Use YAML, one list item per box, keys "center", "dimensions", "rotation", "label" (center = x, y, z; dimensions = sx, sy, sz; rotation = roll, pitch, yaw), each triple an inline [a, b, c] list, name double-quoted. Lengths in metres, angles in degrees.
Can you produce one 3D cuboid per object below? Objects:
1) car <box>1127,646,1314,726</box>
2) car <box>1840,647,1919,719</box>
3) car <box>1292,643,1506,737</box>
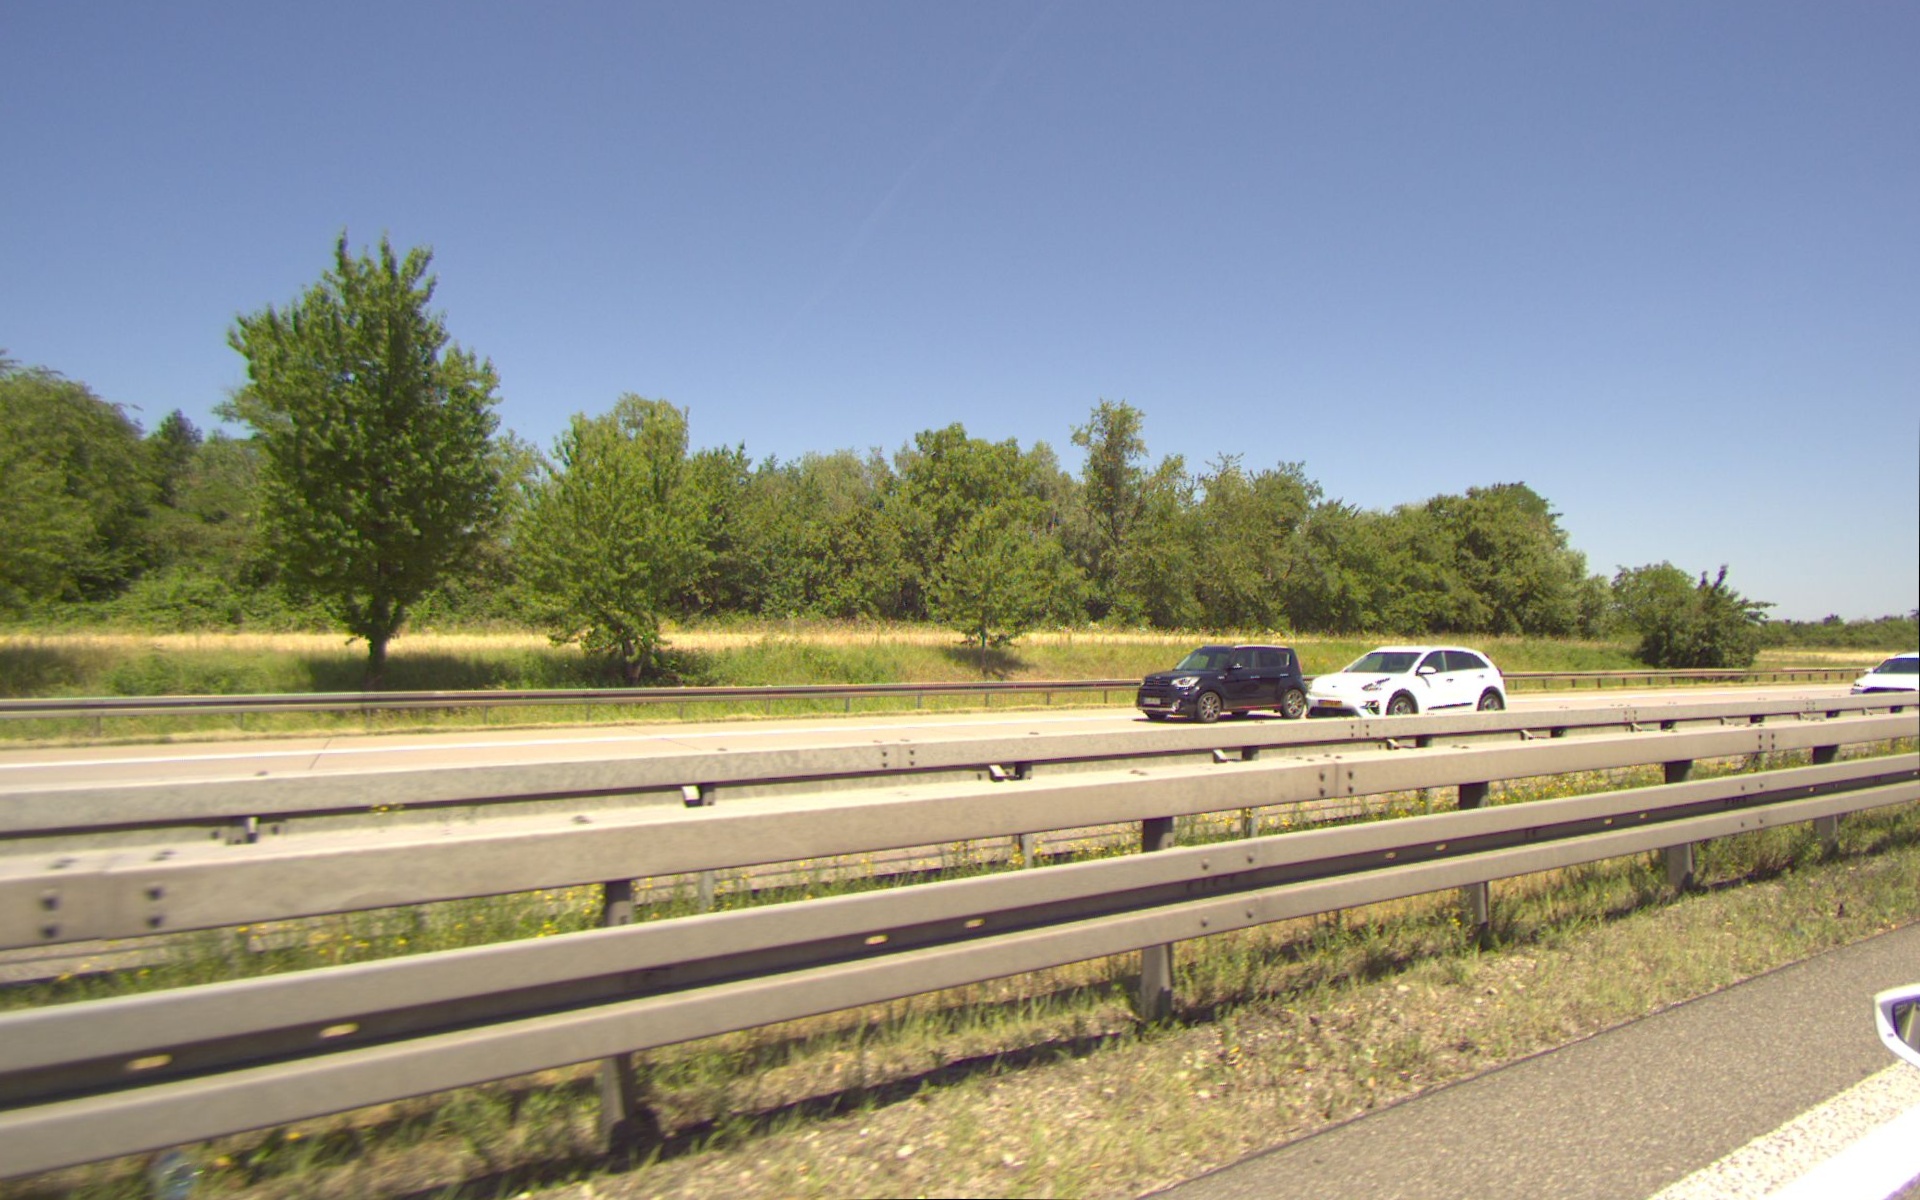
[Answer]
- center: [5.713, 1.828, 21.959]
  dimensions: [3.857, 1.614, 1.725]
  rotation: [2, -4, -30]
  label: "car"
- center: [21.883, 1.835, 22.685]
  dimensions: [4.188, 1.511, 1.787]
  rotation: [2, -3, -30]
  label: "car"
- center: [8.379, 1.651, 19.144]
  dimensions: [3.844, 1.605, 1.827]
  rotation: [2, -3, -30]
  label: "car"
